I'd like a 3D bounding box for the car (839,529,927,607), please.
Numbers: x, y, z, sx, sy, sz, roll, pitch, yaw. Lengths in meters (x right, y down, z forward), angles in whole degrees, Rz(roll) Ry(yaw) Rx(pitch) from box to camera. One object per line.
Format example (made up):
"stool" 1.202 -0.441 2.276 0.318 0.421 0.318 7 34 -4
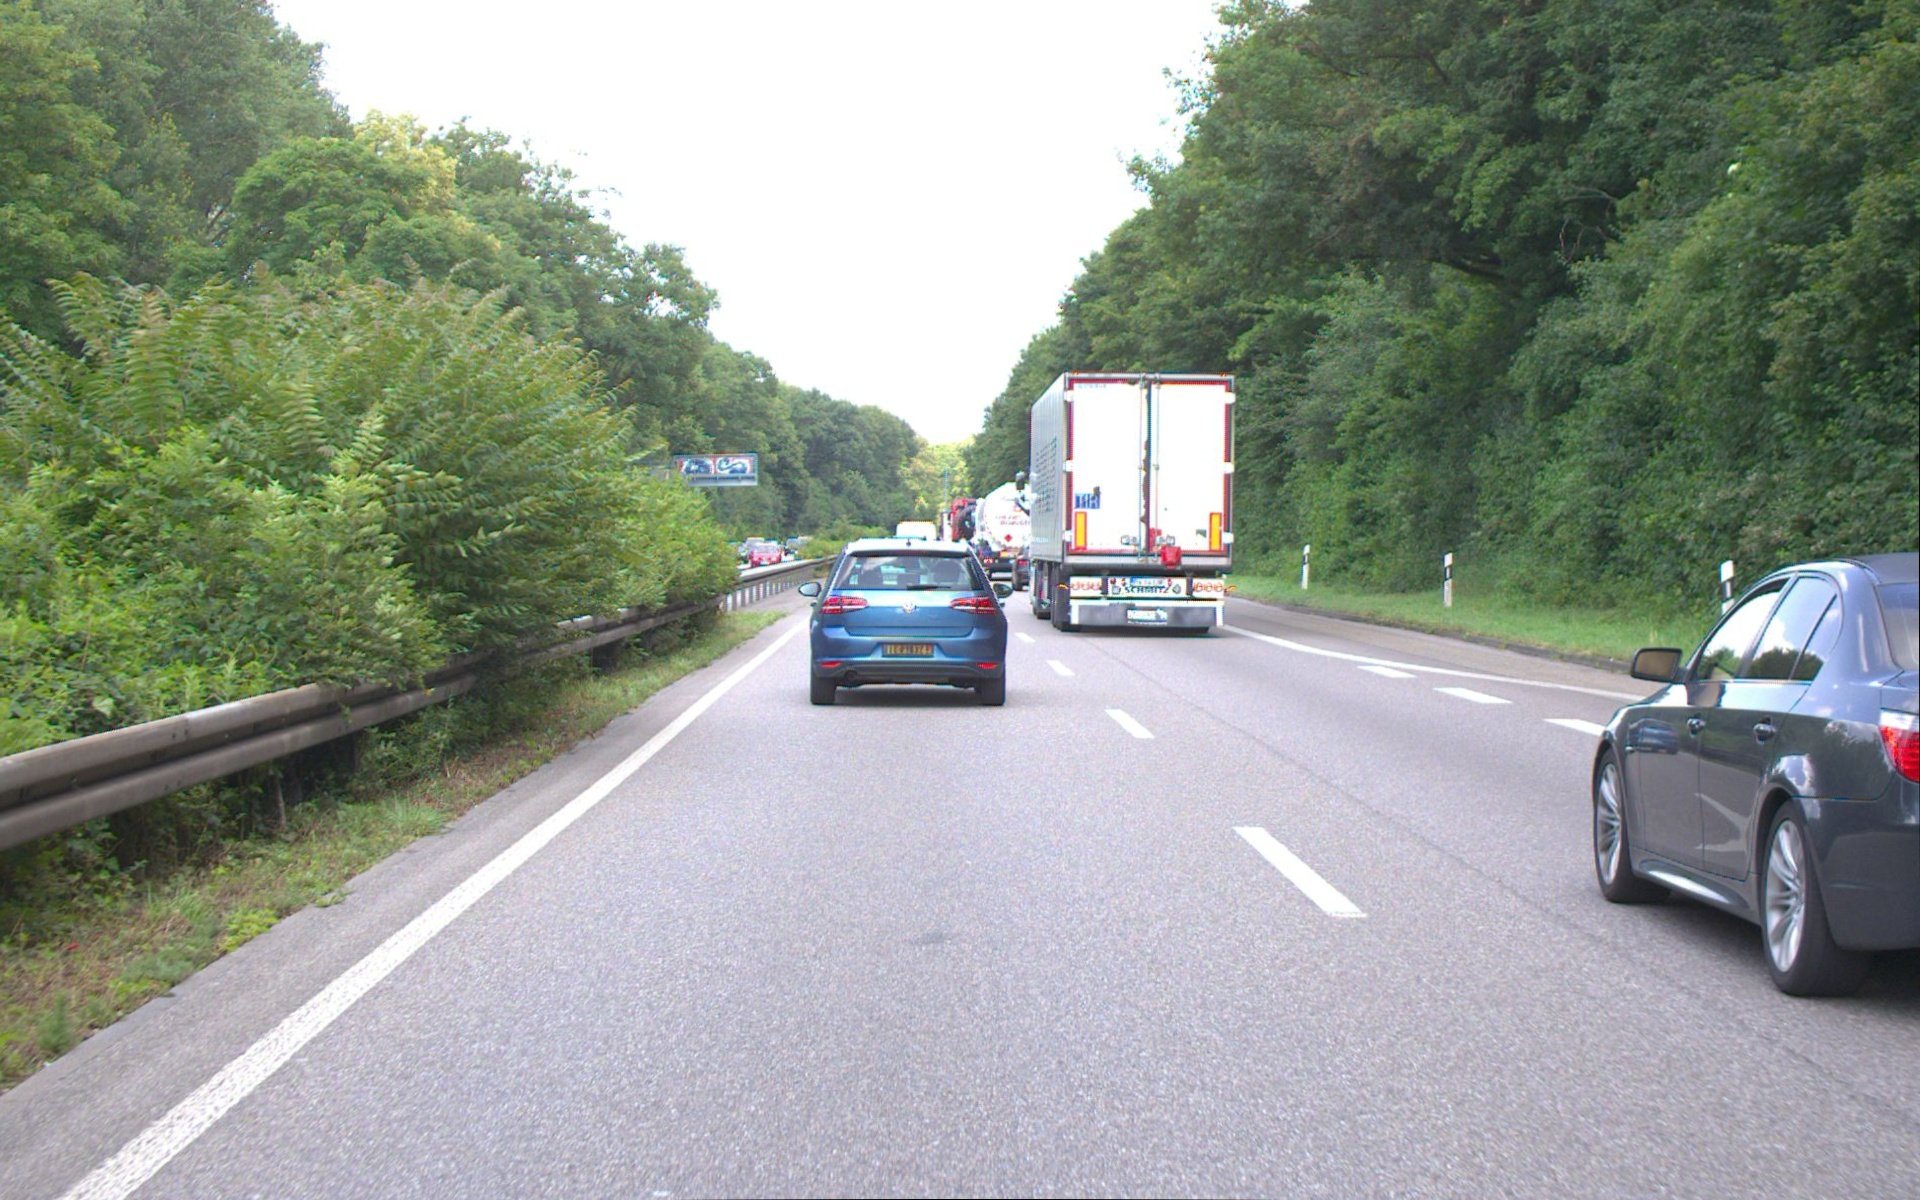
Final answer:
"car" -1.487 -0.654 67.798 1.665 1.495 4.152 0 1 0

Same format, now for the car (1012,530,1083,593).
"car" 2.485 -1.123 98.661 1.888 1.723 4.000 -1 1 0

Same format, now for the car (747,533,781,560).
"car" -10.963 -2.991 192.455 1.678 1.449 4.128 -1 1 0

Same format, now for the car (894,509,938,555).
"car" -2.247 -3.422 173.084 1.993 2.247 4.443 -1 1 -3

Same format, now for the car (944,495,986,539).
"car" 0.277 -4.508 185.655 1.993 2.319 4.443 -1 1 -3

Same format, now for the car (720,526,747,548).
"car" -15.797 -4.395 240.008 1.680 1.514 4.859 -1 1 -1

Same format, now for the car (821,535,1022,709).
"car" -0.375 0.150 31.542 1.705 1.465 4.000 1 1 -1

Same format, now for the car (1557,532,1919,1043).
"car" 3.515 0.505 12.403 1.774 1.470 4.881 1 1 -1

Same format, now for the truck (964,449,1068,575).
"truck" 1.941 -3.119 125.648 3.232 4.371 12.971 0 1 -1

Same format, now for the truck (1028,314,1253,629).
"truck" 2.827 -2.071 57.228 3.242 4.699 11.007 -1 1 1
